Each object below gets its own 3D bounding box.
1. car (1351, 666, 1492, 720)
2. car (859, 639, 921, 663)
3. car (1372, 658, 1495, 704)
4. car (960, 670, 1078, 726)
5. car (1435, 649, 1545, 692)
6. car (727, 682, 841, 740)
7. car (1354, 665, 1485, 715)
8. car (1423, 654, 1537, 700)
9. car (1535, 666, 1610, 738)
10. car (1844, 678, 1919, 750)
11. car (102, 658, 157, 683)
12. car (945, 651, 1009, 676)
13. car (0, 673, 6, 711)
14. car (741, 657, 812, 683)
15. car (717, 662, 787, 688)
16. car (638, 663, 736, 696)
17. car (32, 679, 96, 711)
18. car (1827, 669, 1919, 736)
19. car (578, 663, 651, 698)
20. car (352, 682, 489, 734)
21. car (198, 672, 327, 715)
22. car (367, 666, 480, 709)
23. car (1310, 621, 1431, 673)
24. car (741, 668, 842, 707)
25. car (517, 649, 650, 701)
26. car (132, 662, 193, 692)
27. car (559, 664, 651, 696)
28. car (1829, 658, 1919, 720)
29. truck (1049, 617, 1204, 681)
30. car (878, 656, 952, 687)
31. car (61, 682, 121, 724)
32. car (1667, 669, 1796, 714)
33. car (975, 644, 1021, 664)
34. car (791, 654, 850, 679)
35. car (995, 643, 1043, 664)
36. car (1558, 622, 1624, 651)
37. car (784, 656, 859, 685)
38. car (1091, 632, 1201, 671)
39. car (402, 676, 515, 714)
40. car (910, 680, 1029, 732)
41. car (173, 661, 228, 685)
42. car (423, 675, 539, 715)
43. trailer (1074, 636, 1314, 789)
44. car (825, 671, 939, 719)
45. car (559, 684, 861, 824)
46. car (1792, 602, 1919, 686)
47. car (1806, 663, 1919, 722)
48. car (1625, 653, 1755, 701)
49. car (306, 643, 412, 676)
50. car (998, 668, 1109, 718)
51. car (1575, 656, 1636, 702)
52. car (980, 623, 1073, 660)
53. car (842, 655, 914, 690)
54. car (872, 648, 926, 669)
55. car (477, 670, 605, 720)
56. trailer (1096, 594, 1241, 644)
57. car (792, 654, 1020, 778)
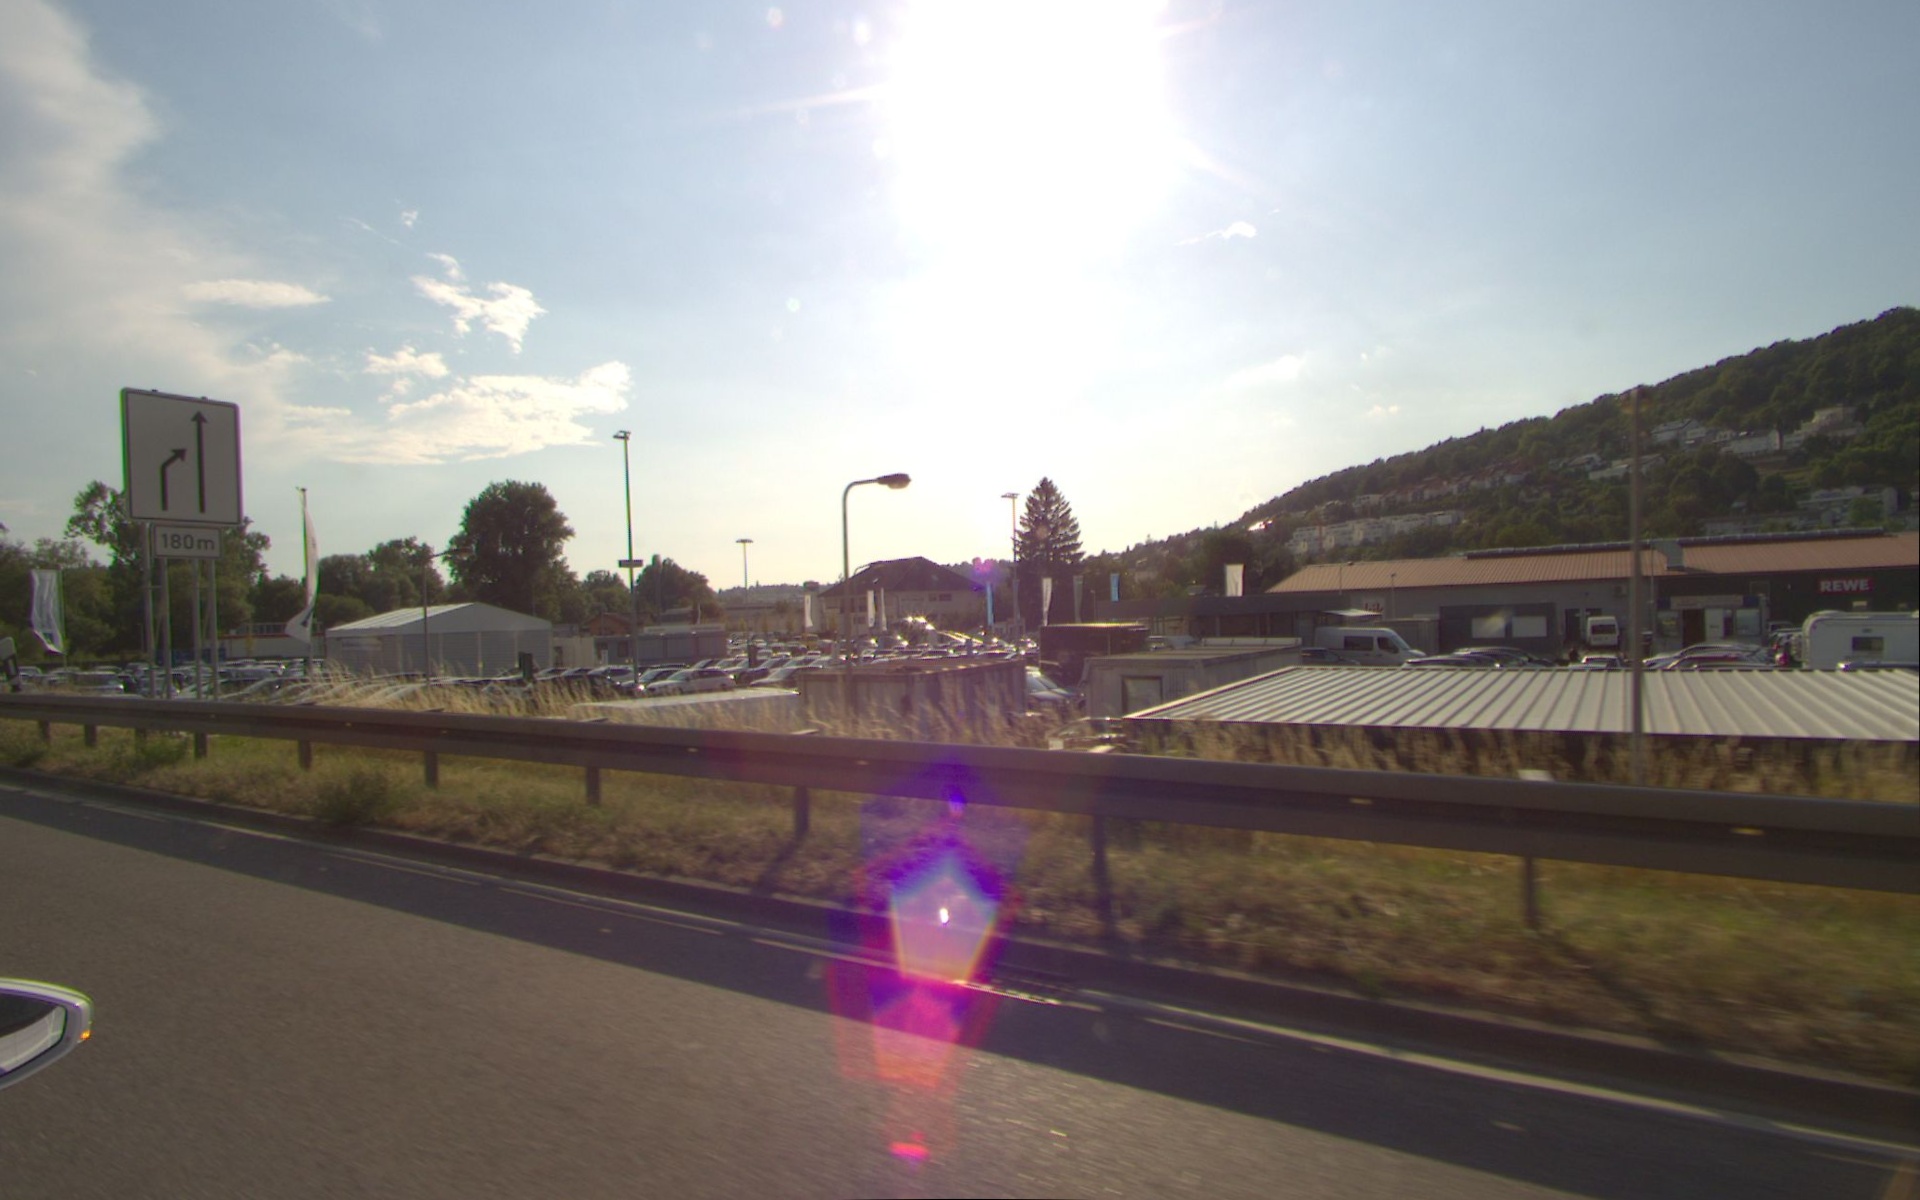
[{"bbox_3d":[14.601,2.934,31.850,3.702,1.589,1.682,-1,-2,6],"label":"car"},{"bbox_3d":[-4.567,3.323,65.567,1.810,1.521,3.972,-3,-3,39],"label":"car"},{"bbox_3d":[17.340,2.945,36.802,3.702,1.589,1.682,-1,-2,6],"label":"car"},{"bbox_3d":[2.055,3.414,35.504,3.970,1.824,1.591,-3,-3,38],"label":"car"},{"bbox_3d":[21.934,2.921,41.571,3.603,1.705,1.770,-1,-2,9],"label":"car"},{"bbox_3d":[-5.857,3.627,33.138,3.867,1.715,1.591,-3,-3,39],"label":"car"},{"bbox_3d":[15.743,3.073,34.453,3.702,1.589,1.682,-1,-2,6],"label":"car"},{"bbox_3d":[20.220,2.989,39.077,3.606,1.705,1.768,-1,-2,15],"label":"car"},{"bbox_3d":[19.487,3.173,31.809,1.806,2.039,3.628,-2,-3,35],"label":"car"},{"bbox_3d":[24.226,2.770,24.293,3.947,1.660,1.751,-3,-3,35],"label":"car"},{"bbox_3d":[-58.437,4.926,70.439,4.668,1.656,1.874,-3,-3,36],"label":"car"},{"bbox_3d":[1.186,4.490,71.324,4.355,1.656,1.886,0,-2,-7],"label":"car"},{"bbox_3d":[-44.671,4.102,44.498,4.656,1.646,1.879,-2,-3,27],"label":"car"},{"bbox_3d":[-11.768,4.465,64.296,1.782,1.562,4.308,-3,-3,43],"label":"car"},{"bbox_3d":[-13.758,4.942,66.295,1.782,1.562,4.308,-3,-3,43],"label":"car"},{"bbox_3d":[-13.147,3.812,48.487,1.779,1.386,4.401,-3,-3,39],"label":"car"},{"bbox_3d":[-50.951,5.363,56.909,4.671,1.656,1.873,-3,-3,37],"label":"car"},{"bbox_3d":[25.477,2.679,26.252,3.947,1.660,1.751,-3,-3,35],"label":"car"},{"bbox_3d":[-21.461,4.967,62.310,1.763,1.980,3.966,-3,-3,42],"label":"car"},{"bbox_3d":[-19.147,3.783,35.678,1.764,1.562,3.963,-2,-3,35],"label":"car"},{"bbox_3d":[-31.008,4.109,44.620,1.820,1.687,4.401,-3,-3,39],"label":"car"},{"bbox_3d":[-25.603,4.155,47.911,1.781,1.723,4.400,-7,-5,38],"label":"car"},{"bbox_3d":[20.549,2.385,50.215,5.261,2.468,1.987,-3,-3,37],"label":"car"},{"bbox_3d":[-7.491,3.870,44.924,1.779,1.562,4.401,-3,-3,39],"label":"car"},{"bbox_3d":[-14.083,2.774,37.638,1.779,1.736,4.400,-2,-2,39],"label":"car"},{"bbox_3d":[-44.119,4.219,55.357,4.678,1.541,1.870,-3,-3,42],"label":"car"},{"bbox_3d":[-19.004,4.260,53.796,1.779,1.562,4.401,-3,-3,39],"label":"car"},{"bbox_3d":[27.018,2.470,27.960,3.947,1.660,1.751,-3,-3,35],"label":"car"},{"bbox_3d":[6.647,1.996,40.430,5.891,2.400,1.988,-3,-3,35],"label":"truck"},{"bbox_3d":[-2.492,4.005,56.421,1.779,1.562,4.315,-3,-3,39],"label":"car"},{"bbox_3d":[-46.165,5.424,53.175,4.678,1.955,1.870,-3,-3,42],"label":"car"},{"bbox_3d":[23.623,2.765,30.724,1.343,1.243,2.852,1,-3,-35],"label":"car"},{"bbox_3d":[3.425,4.808,89.920,3.957,1.739,1.983,1,-2,-41],"label":"car"},{"bbox_3d":[-9.826,4.698,70.807,1.738,1.661,3.931,-3,-3,43],"label":"car"},{"bbox_3d":[5.177,4.675,87.759,3.957,1.739,1.983,1,-2,-41],"label":"car"},{"bbox_3d":[45.392,2.659,72.117,3.943,2.039,1.991,-2,-3,32],"label":"car"},{"bbox_3d":[-8.330,4.233,60.495,1.782,1.562,4.308,-3,-3,43],"label":"car"},{"bbox_3d":[7.920,2.219,42.910,4.291,1.562,1.789,-3,-3,37],"label":"car"},{"bbox_3d":[-23.350,4.394,46.763,1.779,1.562,4.401,-3,-3,39],"label":"car"},{"bbox_3d":[0.287,3.531,33.802,3.843,1.583,1.591,-3,-3,38],"label":"car"},{"bbox_3d":[-55.830,5.364,73.588,4.666,1.656,1.875,-3,-3,35],"label":"car"},{"bbox_3d":[-21.548,4.252,45.171,1.779,1.562,4.401,-3,-3,39],"label":"car"},{"bbox_3d":[6.374,2.642,26.140,3.315,3.364,7.858,-2,-3,36],"label":"trailer"},{"bbox_3d":[-2.933,3.471,36.977,4.233,1.614,1.591,-3,-3,38],"label":"car"},{"bbox_3d":[-4.557,2.763,19.366,1.973,2.039,5.868,-2,-3,34],"label":"car"},{"bbox_3d":[29.891,1.384,31.598,5.397,2.581,1.751,-3,-3,35],"label":"car"},{"bbox_3d":[28.234,2.760,30.191,3.947,1.660,1.751,-3,-3,35],"label":"car"},{"bbox_3d":[26.582,2.773,36.533,1.783,1.636,3.418,1,-3,-35],"label":"car"},{"bbox_3d":[-31.488,3.089,52.585,1.863,1.656,4.408,-3,-3,39],"label":"car"},{"bbox_3d":[3.441,3.419,37.232,3.843,1.722,1.591,-3,-3,38],"label":"car"},{"bbox_3d":[25.797,3.126,39.973,1.627,1.689,3.622,-2,-3,39],"label":"car"},{"bbox_3d":[2.904,1.846,44.186,3.842,1.563,1.592,-3,-3,37],"label":"car"},{"bbox_3d":[-4.707,4.161,57.803,1.904,1.883,3.972,-2,-3,39],"label":"car"},{"bbox_3d":[-5.024,4.809,82.115,4.355,1.656,1.886,0,-2,-7],"label":"car"},{"bbox_3d":[-16.435,3.678,39.451,1.779,1.735,4.401,-2,-3,39],"label":"car"},{"bbox_3d":[9.350,0.902,45.276,6.205,2.047,1.987,-3,-3,37],"label":"trailer"},{"bbox_3d":[-0.782,1.830,16.941,1.876,1.772,3.979,-2,-3,33],"label":"car"}]
